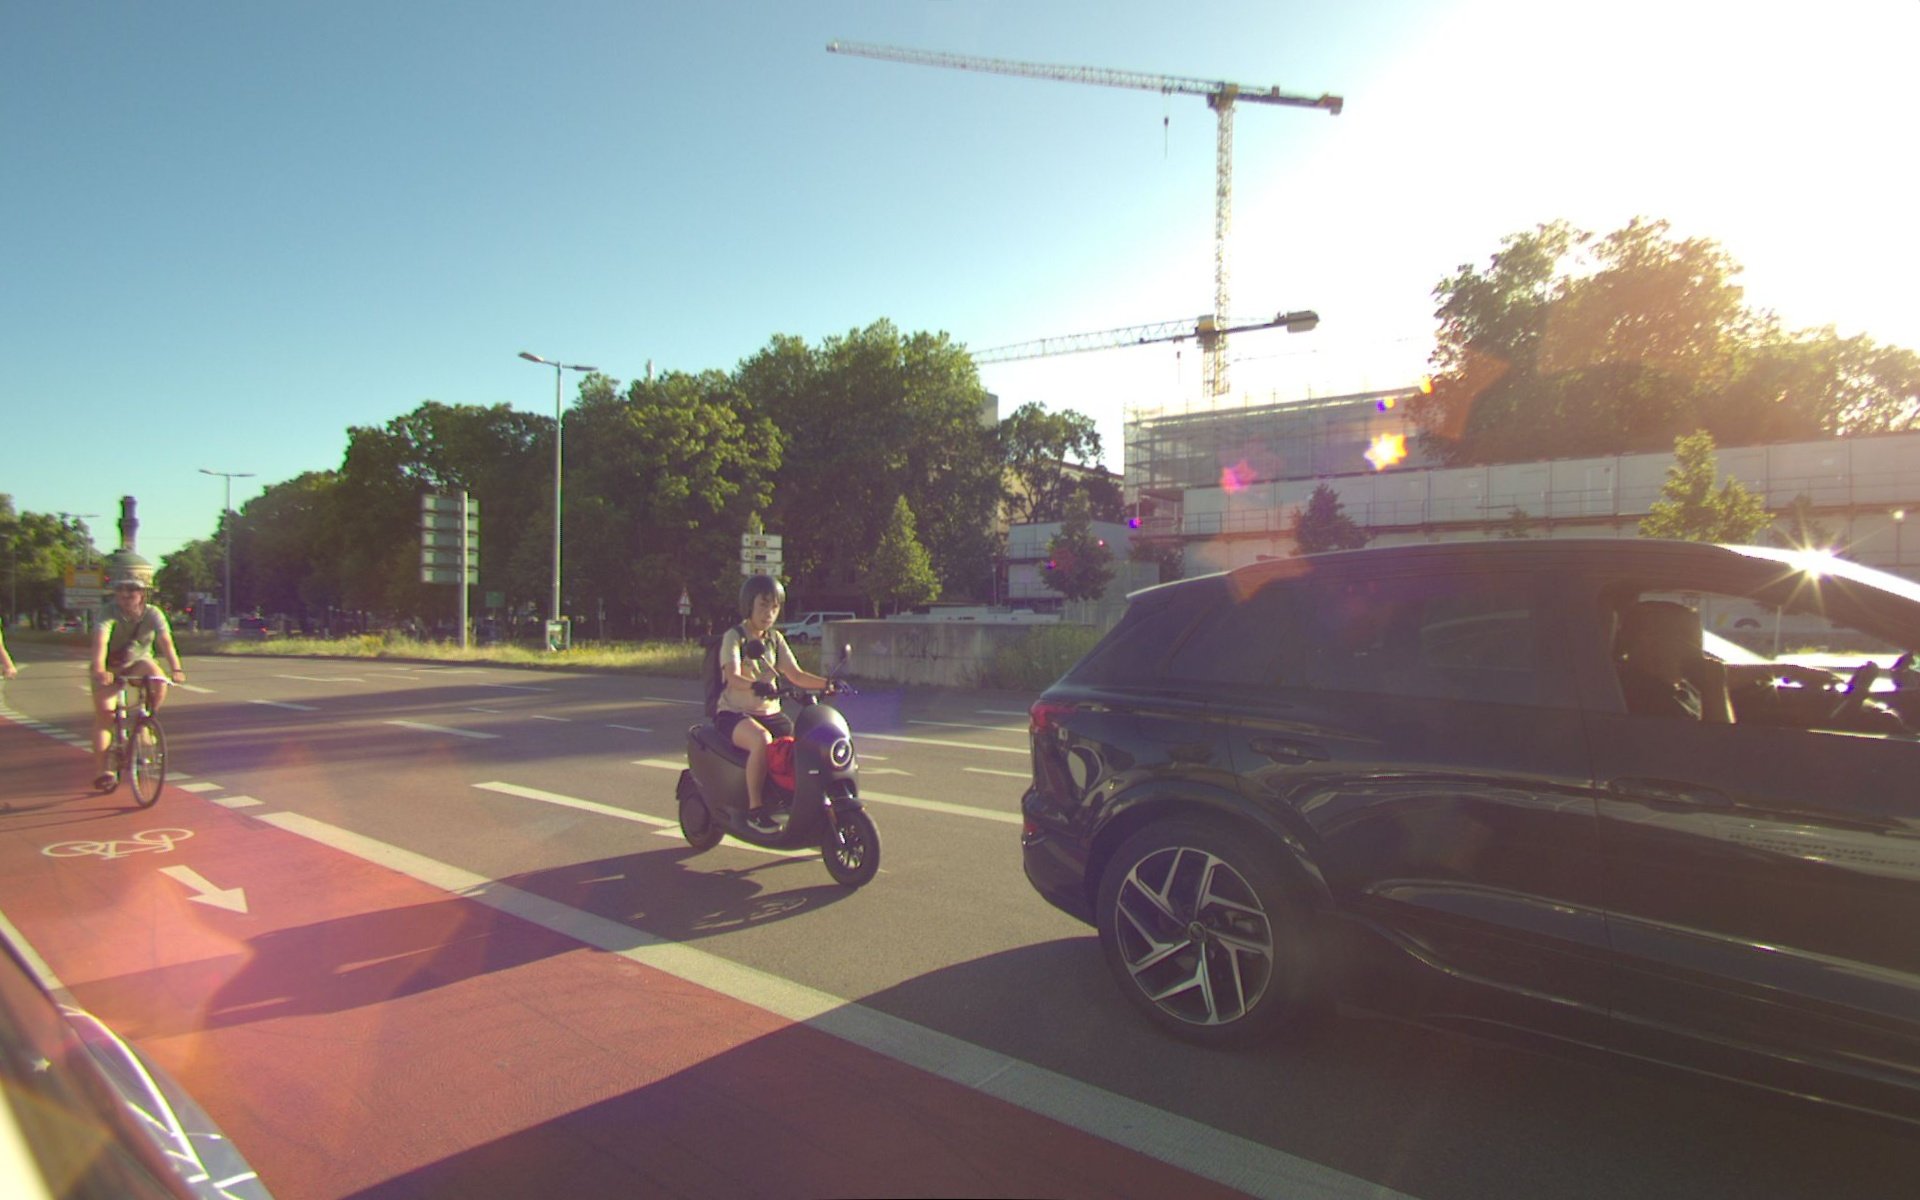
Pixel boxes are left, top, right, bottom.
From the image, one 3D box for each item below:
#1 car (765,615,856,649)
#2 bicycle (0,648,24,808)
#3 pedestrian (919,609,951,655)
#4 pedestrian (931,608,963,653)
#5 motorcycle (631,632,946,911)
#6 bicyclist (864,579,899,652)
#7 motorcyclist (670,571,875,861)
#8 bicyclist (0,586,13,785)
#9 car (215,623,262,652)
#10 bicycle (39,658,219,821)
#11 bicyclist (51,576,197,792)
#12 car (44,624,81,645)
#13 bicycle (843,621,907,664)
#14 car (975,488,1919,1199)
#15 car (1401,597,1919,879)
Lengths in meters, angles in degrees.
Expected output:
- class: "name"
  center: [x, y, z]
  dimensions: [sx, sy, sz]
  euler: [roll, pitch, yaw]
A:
- class: "car"
  center: [-9.057, 1.928, 61.842]
  dimensions: [2.065, 1.950, 5.443]
  euler: [-1, -2, 42]
- class: "bicycle"
  center: [-8.277, 1.018, 8.242]
  dimensions: [1.828, 1.227, 0.610]
  euler: [-2, -1, 36]
- class: "pedestrian"
  center: [-1.127, 1.426, 45.845]
  dimensions: [1.135, 2.029, 0.930]
  euler: [-1, 0, 35]
- class: "pedestrian"
  center: [-0.582, 1.413, 46.670]
  dimensions: [1.135, 2.029, 0.930]
  euler: [-1, 0, 35]
- class: "motorcycle"
  center: [-1.028, 0.847, 5.727]
  dimensions: [1.883, 1.303, 0.715]
  euler: [-2, -1, 41]
- class: "bicyclist"
  center: [-3.453, 0.679, 44.453]
  dimensions: [1.305, 3.126, 0.831]
  euler: [-1, 0, 39]
- class: "motorcyclist"
  center: [-1.074, 0.601, 5.768]
  dimensions: [0.917, 1.485, 0.717]
  euler: [-2, -1, 41]
- class: "bicyclist"
  center: [-8.212, 0.697, 8.193]
  dimensions: [0.873, 1.591, 0.636]
  euler: [-2, -1, 36]
- class: "car"
  center: [-50.154, 2.586, 70.337]
  dimensions: [3.998, 1.841, 1.796]
  euler: [-1, 0, 41]
- class: "bicycle"
  center: [-6.714, 1.053, 8.144]
  dimensions: [1.967, 1.118, 0.641]
  euler: [-1, -1, 36]
- class: "bicyclist"
  center: [-6.721, 0.637, 8.141]
  dimensions: [0.840, 1.618, 0.710]
  euler: [-1, -1, 36]
- class: "car"
  center: [-76.045, 2.909, 85.754]
  dimensions: [3.998, 1.699, 1.826]
  euler: [-1, 0, 41]
- class: "bicycle"
  center: [-3.774, 1.885, 44.726]
  dimensions: [3.079, 1.824, 0.831]
  euler: [-3, -1, 40]
- class: "car"
  center: [2.421, 0.581, 3.024]
  dimensions: [4.677, 1.647, 1.753]
  euler: [-1, 0, 40]
- class: "car"
  center: [4.979, 0.758, 6.544]
  dimensions: [3.603, 1.497, 1.477]
  euler: [-2, -1, 41]
